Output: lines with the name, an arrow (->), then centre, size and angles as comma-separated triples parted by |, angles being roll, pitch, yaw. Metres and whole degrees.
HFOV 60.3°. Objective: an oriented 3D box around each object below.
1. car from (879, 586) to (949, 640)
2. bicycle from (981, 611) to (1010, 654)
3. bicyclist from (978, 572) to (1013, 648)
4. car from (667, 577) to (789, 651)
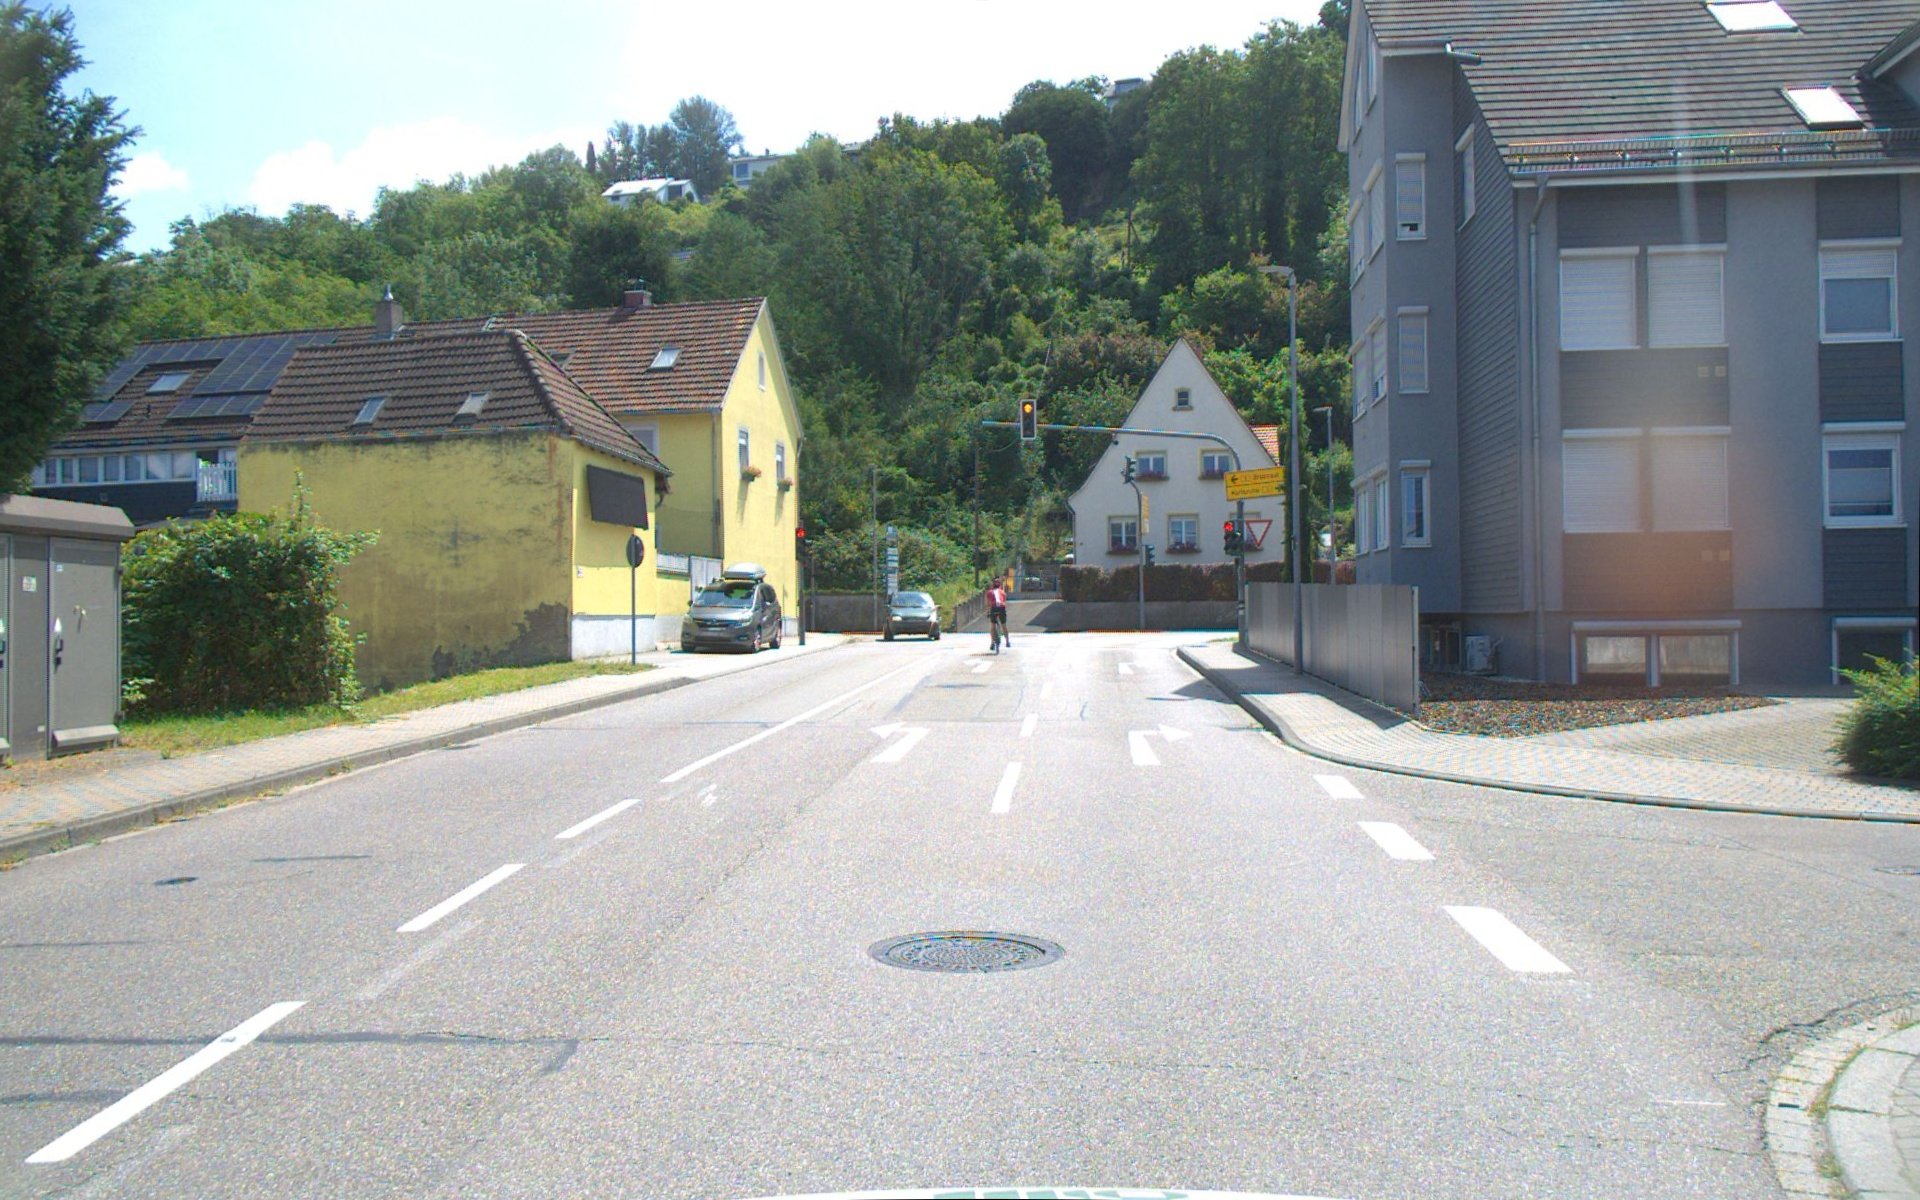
car -> -1.409, 0.354, 48.949 | 1.746, 1.458, 3.867 | -2, 0, -6
bicycle -> 0.801, 0.715, 37.165 | 0.616, 0.920, 1.658 | 0, 0, 2
bicyclist -> 0.808, 0.220, 37.148 | 0.745, 1.693, 0.869 | 0, 0, 2
car -> -5.542, 0.305, 40.086 | 1.951, 1.664, 4.633 | 1, 0, 4
